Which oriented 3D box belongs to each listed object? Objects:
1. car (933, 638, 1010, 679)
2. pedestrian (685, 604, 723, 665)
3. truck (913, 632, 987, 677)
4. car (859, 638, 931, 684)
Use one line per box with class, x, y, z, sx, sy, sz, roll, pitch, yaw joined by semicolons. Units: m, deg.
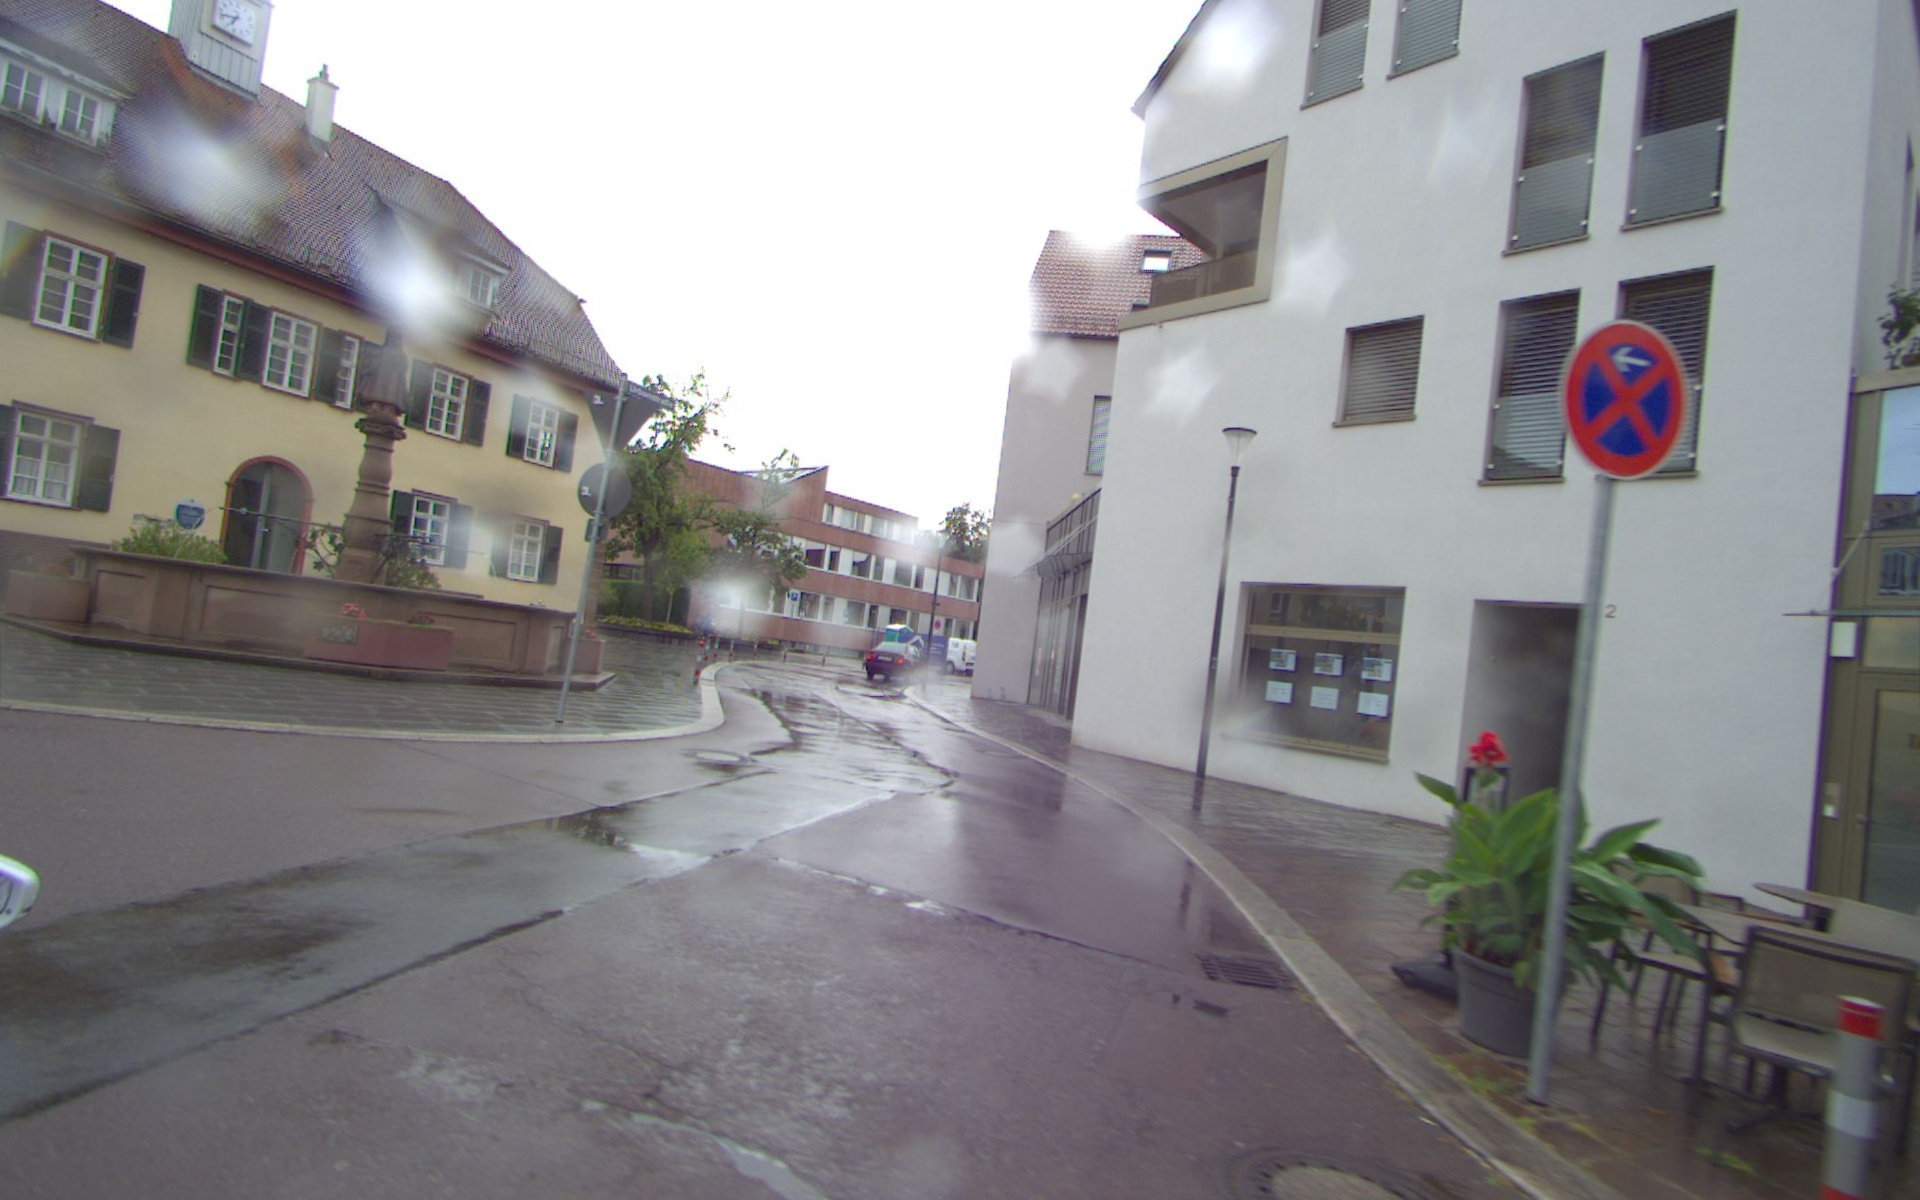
car;0.675;3.468;59.597;3.932;1.814;1.998;6;-2;30
pedestrian;-8.164;1.114;32.119;0.778;1.843;0.687;7;-1;3
truck;-0.567;3.086;56.782;3.489;2.037;1.862;6;-2;31
car;-2.341;2.252;37.042;1.640;1.379;3.611;7;-2;11
